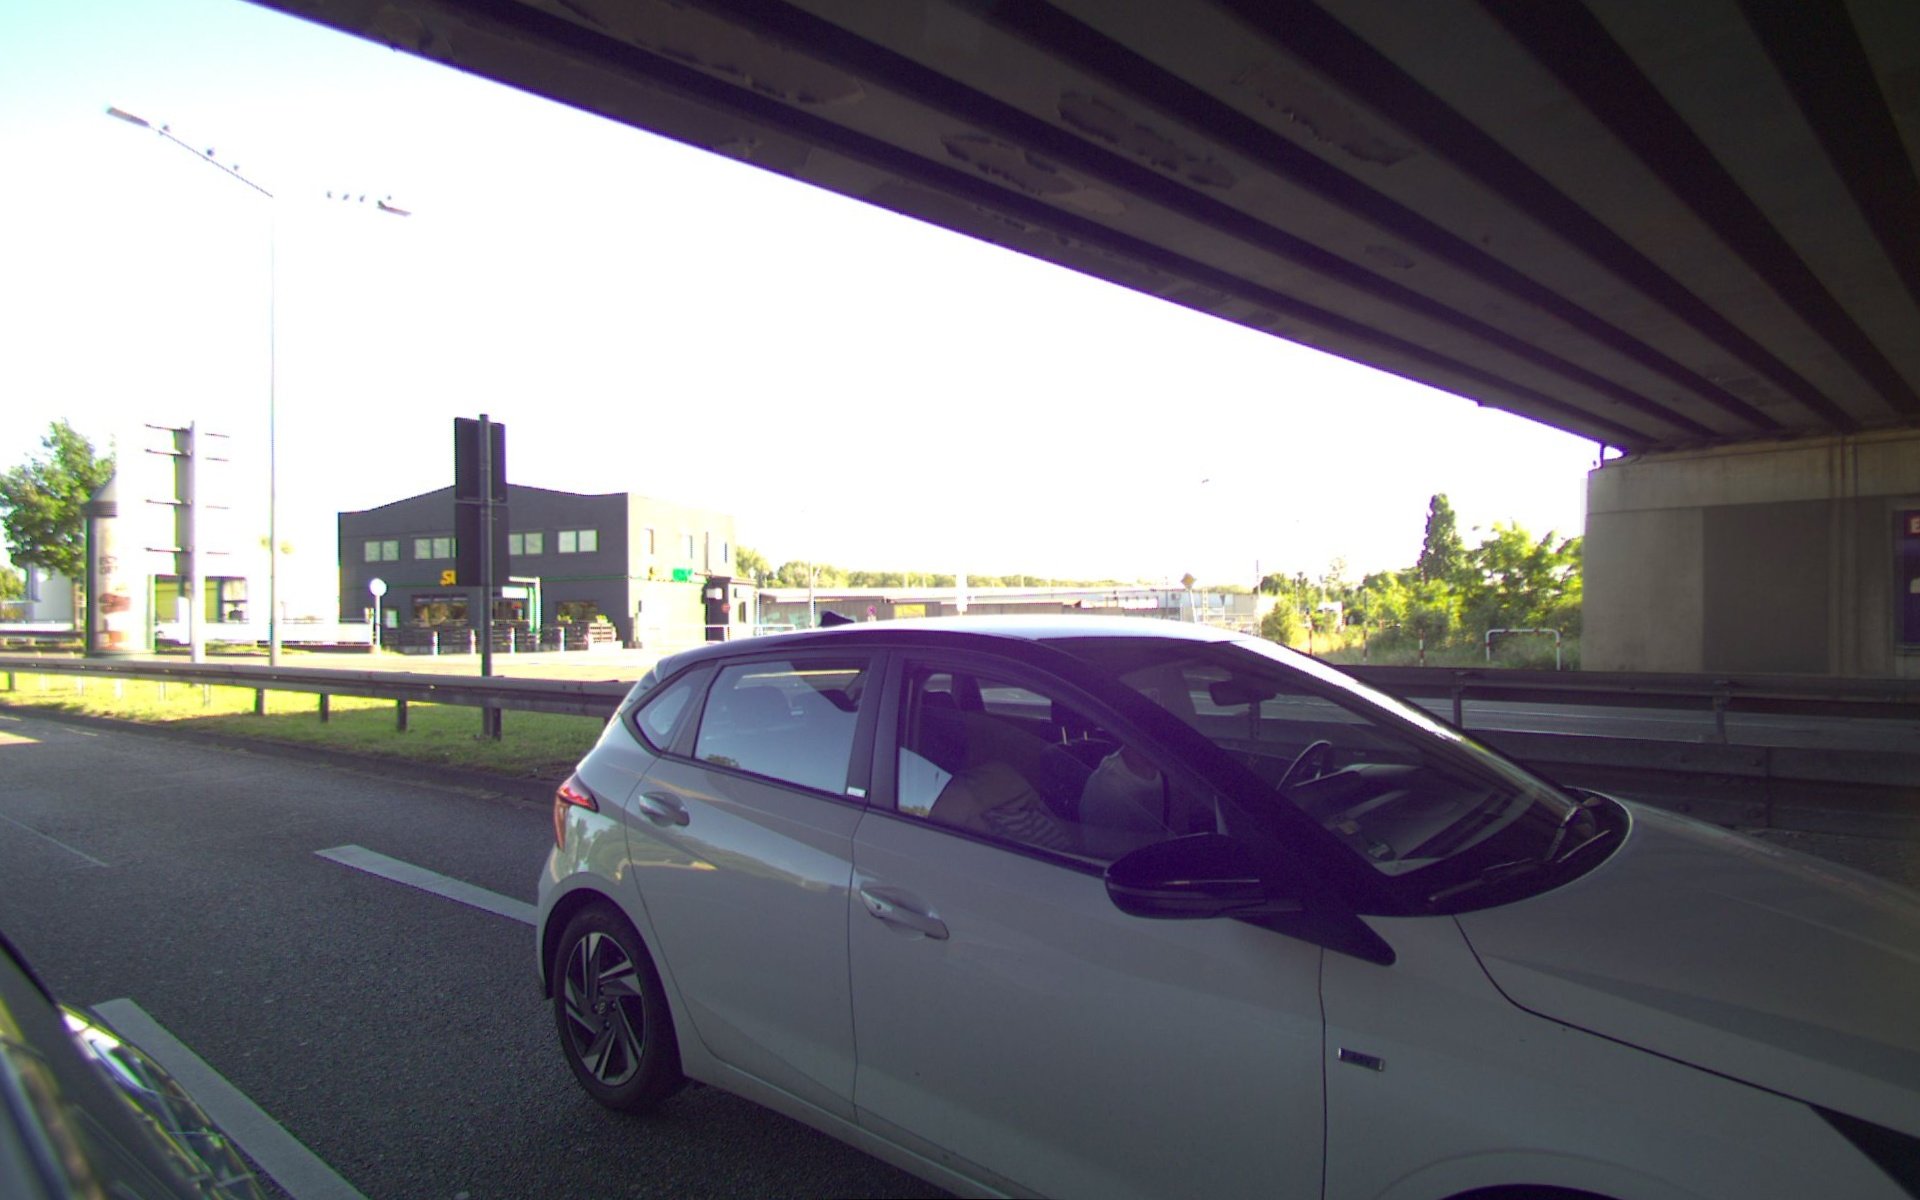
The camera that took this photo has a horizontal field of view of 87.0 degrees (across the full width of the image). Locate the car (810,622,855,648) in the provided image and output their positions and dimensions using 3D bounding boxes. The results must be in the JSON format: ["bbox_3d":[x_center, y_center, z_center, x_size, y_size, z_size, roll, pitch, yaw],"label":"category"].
[{"bbox_3d":[-6.875,1.917,54.964,1.806,1.291,4.180,1,-3,1],"label":"car"}]

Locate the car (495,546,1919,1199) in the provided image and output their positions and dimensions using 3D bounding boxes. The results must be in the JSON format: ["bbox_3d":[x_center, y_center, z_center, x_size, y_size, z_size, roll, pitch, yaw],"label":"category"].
[{"bbox_3d":[0.557,0.714,2.672,3.987,1.491,1.716,-1,-1,40],"label":"car"}]

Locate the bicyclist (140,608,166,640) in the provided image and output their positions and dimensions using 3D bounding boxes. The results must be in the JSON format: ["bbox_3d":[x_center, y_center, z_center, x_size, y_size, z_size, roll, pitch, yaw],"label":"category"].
[{"bbox_3d":[-35.768,1.062,44.847,0.703,1.438,0.590,-1,0,17],"label":"bicyclist"}]

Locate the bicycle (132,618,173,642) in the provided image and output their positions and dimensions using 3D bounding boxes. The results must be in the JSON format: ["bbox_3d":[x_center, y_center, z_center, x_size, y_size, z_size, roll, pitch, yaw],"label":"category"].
[{"bbox_3d":[-35.814,1.345,44.871,1.736,1.031,0.590,-1,0,19],"label":"bicycle"}]
